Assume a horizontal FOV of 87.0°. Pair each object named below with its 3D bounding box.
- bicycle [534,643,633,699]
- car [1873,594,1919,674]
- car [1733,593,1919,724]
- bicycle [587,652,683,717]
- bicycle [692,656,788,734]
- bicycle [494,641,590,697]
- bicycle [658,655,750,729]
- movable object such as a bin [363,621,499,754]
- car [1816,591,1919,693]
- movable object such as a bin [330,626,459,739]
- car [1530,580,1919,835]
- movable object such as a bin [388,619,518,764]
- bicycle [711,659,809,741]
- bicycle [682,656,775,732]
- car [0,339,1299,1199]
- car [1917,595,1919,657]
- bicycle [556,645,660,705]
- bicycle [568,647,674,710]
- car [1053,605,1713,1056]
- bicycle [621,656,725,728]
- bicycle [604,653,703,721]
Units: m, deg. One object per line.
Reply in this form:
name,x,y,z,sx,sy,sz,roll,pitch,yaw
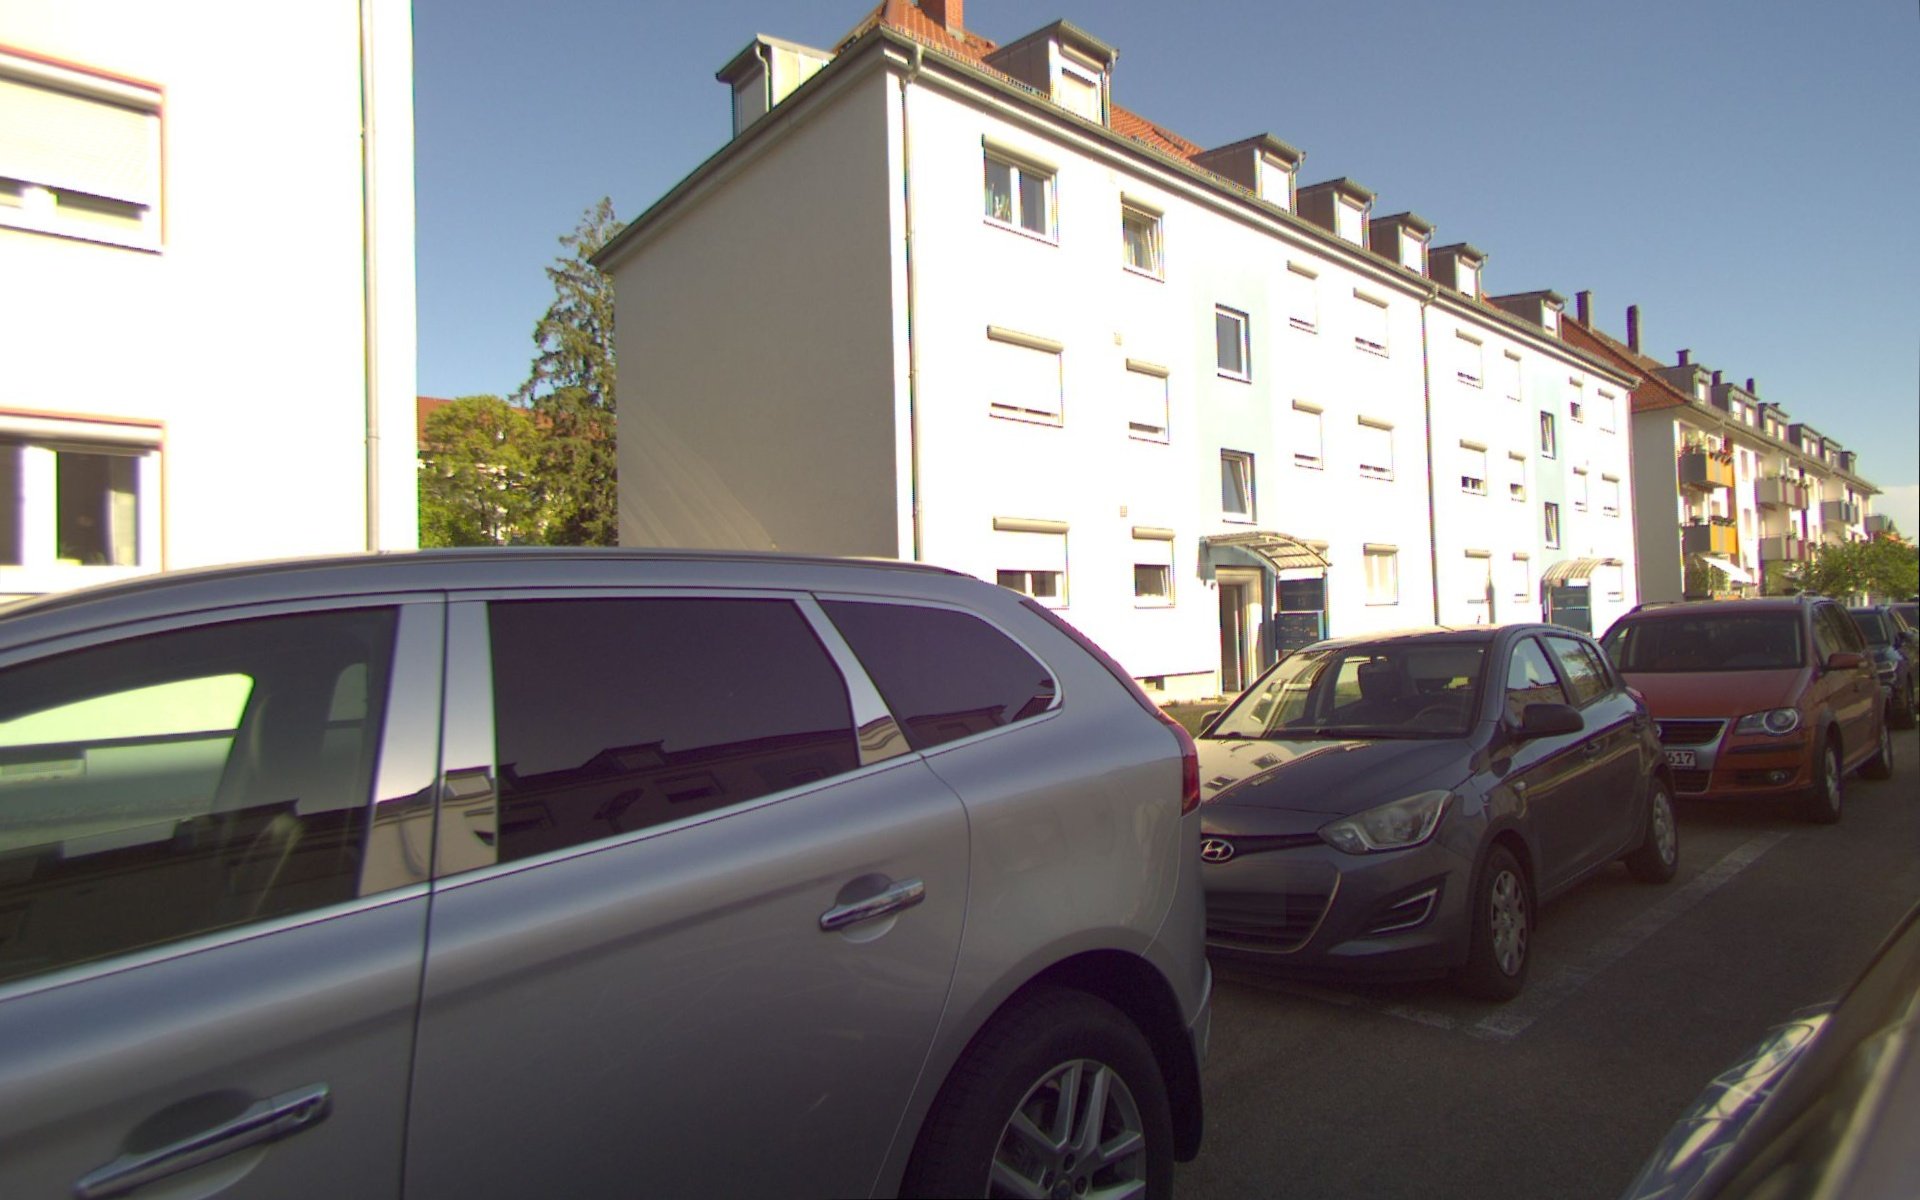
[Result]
bicycle,-7.103,1.318,19.120,1.706,0.958,0.422,-1,0,-33
car,20.492,0.654,21.064,3.970,1.591,1.707,0,-2,-41
car,12.188,0.750,13.852,3.808,1.545,1.706,0,-5,-41
bicycle,-5.303,1.360,16.578,1.481,0.958,0.319,-1,0,-39
bicycle,-2.995,1.279,13.835,1.260,0.958,0.319,0,0,-39
bicycle,-8.092,1.321,19.647,0.420,0.958,1.715,-1,0,40
bicycle,-3.687,1.307,14.616,1.260,0.958,0.319,0,0,-39
movable object such as a bin,-6.852,1.073,13.090,1.315,1.572,1.297,0,-2,-40
car,16.143,0.652,17.308,3.808,1.591,1.707,0,-2,-41
movable object such as a bin,-7.985,1.118,14.274,1.377,1.454,1.297,0,-2,-40
car,6.607,0.698,8.554,4.346,1.627,1.730,0,-2,-41
movable object such as a bin,-6.036,1.030,12.023,1.124,1.572,1.297,0,-2,-40
bicycle,-2.605,1.287,13.257,1.260,0.958,0.319,0,0,-39
bicycle,-3.252,1.304,14.272,1.260,0.958,0.319,0,0,-39
car,-1.371,0.687,1.657,4.235,1.742,1.776,0,-4,-43
car,24.894,0.656,24.778,3.970,1.591,1.707,0,-2,-41
bicycle,-6.245,1.314,18.021,1.709,0.958,0.421,-1,0,-40
bicycle,-5.848,1.333,17.524,1.709,0.958,0.421,-1,0,-40
car,2.403,0.830,5.273,3.791,1.468,1.618,0,-4,-42
bicycle,-4.288,1.355,15.177,1.481,0.958,0.319,-1,0,-39
bicycle,-4.816,1.357,15.955,1.481,0.958,0.319,-1,0,-39
